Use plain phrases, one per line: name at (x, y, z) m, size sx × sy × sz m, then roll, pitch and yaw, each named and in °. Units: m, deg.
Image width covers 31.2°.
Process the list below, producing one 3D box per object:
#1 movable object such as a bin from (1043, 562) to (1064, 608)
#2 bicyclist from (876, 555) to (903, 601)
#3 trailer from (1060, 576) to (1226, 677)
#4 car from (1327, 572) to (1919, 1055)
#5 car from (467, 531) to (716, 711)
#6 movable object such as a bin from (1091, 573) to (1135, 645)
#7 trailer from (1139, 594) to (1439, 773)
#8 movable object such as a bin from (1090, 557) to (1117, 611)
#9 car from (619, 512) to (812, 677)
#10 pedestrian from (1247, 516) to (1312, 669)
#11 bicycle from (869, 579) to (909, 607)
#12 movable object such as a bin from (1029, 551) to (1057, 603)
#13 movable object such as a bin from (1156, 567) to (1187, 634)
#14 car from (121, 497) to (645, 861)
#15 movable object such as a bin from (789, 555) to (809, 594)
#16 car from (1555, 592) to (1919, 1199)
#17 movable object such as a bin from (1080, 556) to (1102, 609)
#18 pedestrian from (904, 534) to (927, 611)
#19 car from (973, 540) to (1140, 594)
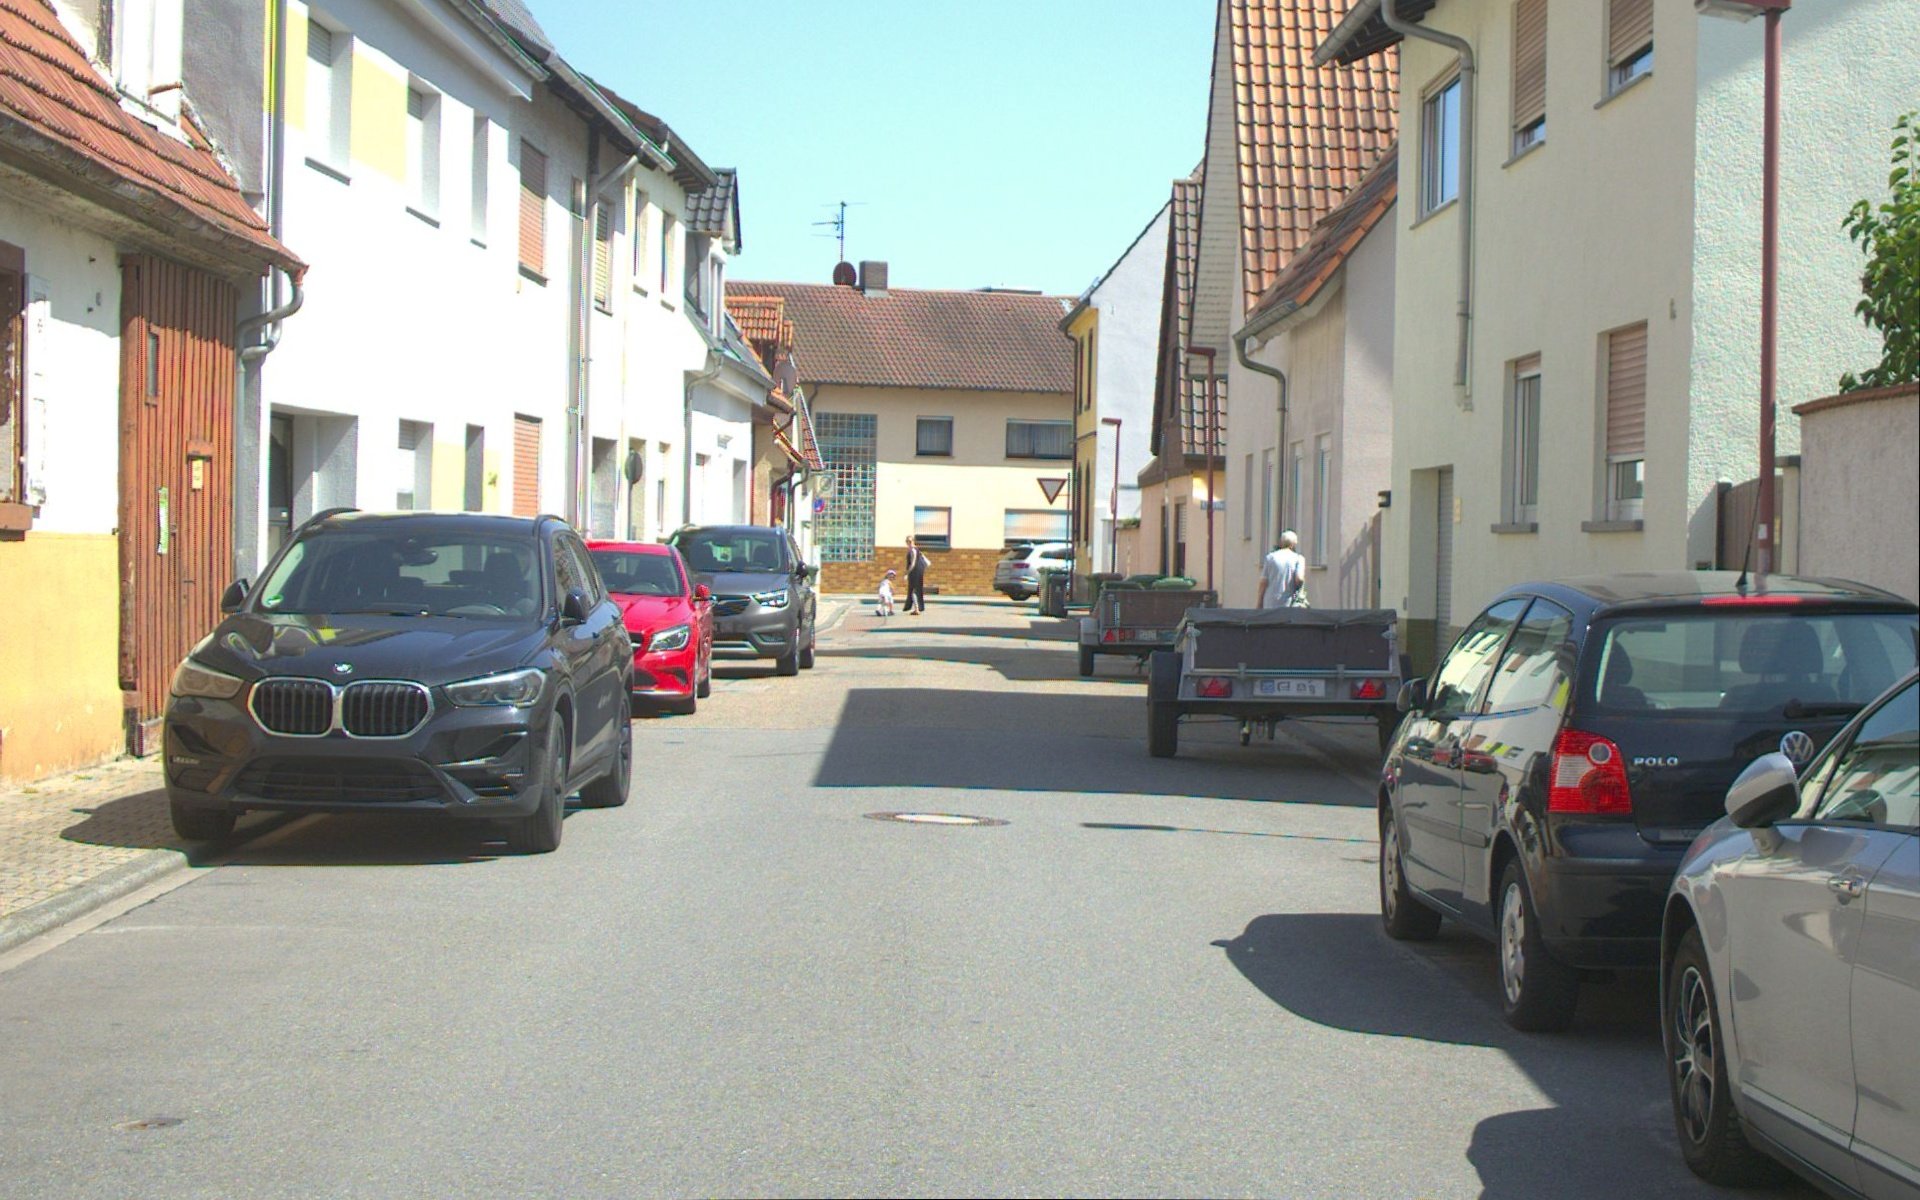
movable object such as a bin at (2.026, -0.327, 74.509) m, size 0.424 × 0.972 × 0.473 m, roll 0°, pitch 1°, yaw -2°
bicyclist at (-1.461, -0.451, 71.384) m, size 0.461 × 0.956 × 0.352 m, roll 0°, pitch 0°, yaw -29°
trailer at (2.057, 0.281, 39.443) m, size 1.699 × 1.029 × 3.481 m, roll 1°, pitch 1°, yaw 0°
car at (2.469, 0.637, 12.524) m, size 1.649 × 1.431 × 4.135 m, roll 0°, pitch 1°, yaw -2°
car at (-3.124, 0.135, 29.906) m, size 1.800 × 1.436 × 4.488 m, roll 0°, pitch 1°, yaw -2°
movable object such as a bin at (2.200, 0.123, 49.522) m, size 0.585 × 1.029 × 0.595 m, roll 0°, pitch 1°, yaw -1°
trailer at (2.268, 0.550, 24.498) m, size 1.817 × 1.086 × 3.481 m, roll 1°, pitch 1°, yaw 1°
movable object such as a bin at (2.972, -0.333, 71.376) m, size 0.525 × 1.124 × 0.366 m, roll 0°, pitch 1°, yaw -2°
car at (-2.624, -0.091, 37.721) m, size 1.800 × 1.698 × 4.487 m, roll 0°, pitch 1°, yaw 0°
pedestrian at (3.311, -0.071, 35.634) m, size 0.595 × 1.559 × 0.557 m, roll 1°, pitch -3°, yaw -2°
bicycle at (-1.467, -0.139, 71.401) m, size 0.441 × 0.565 × 0.939 m, roll 0°, pitch 1°, yaw -29°
movable object such as a bin at (1.819, -0.507, 75.115) m, size 0.569 × 1.124 × 0.454 m, roll 0°, pitch 1°, yaw -2°
movable object such as a bin at (3.446, -0.001, 56.062) m, size 0.457 × 1.083 × 0.502 m, roll 0°, pitch 1°, yaw -1°
car at (-2.730, 0.311, 17.296) m, size 1.800 × 1.568 × 4.615 m, roll 1°, pitch 1°, yaw 1°
movable object such as a bin at (-3.773, -0.593, 80.557) m, size 0.448 × 0.918 × 0.404 m, roll 0°, pitch 1°, yaw -2°
car at (2.637, 0.756, 7.291) m, size 1.791 × 1.476 × 4.934 m, roll -1°, pitch 1°, yaw -1°
movable object such as a bin at (2.822, -0.372, 73.942) m, size 0.425 × 1.124 × 0.414 m, roll 0°, pitch 1°, yaw -2°
pedestrian at (-0.937, -0.570, 71.680) m, size 0.411 × 1.604 × 0.368 m, roll 0°, pitch 1°, yaw -10°
car at (2.882, -0.990, 102.519) m, size 4.749 × 1.579 × 1.802 m, roll 0°, pitch 1°, yaw -31°
